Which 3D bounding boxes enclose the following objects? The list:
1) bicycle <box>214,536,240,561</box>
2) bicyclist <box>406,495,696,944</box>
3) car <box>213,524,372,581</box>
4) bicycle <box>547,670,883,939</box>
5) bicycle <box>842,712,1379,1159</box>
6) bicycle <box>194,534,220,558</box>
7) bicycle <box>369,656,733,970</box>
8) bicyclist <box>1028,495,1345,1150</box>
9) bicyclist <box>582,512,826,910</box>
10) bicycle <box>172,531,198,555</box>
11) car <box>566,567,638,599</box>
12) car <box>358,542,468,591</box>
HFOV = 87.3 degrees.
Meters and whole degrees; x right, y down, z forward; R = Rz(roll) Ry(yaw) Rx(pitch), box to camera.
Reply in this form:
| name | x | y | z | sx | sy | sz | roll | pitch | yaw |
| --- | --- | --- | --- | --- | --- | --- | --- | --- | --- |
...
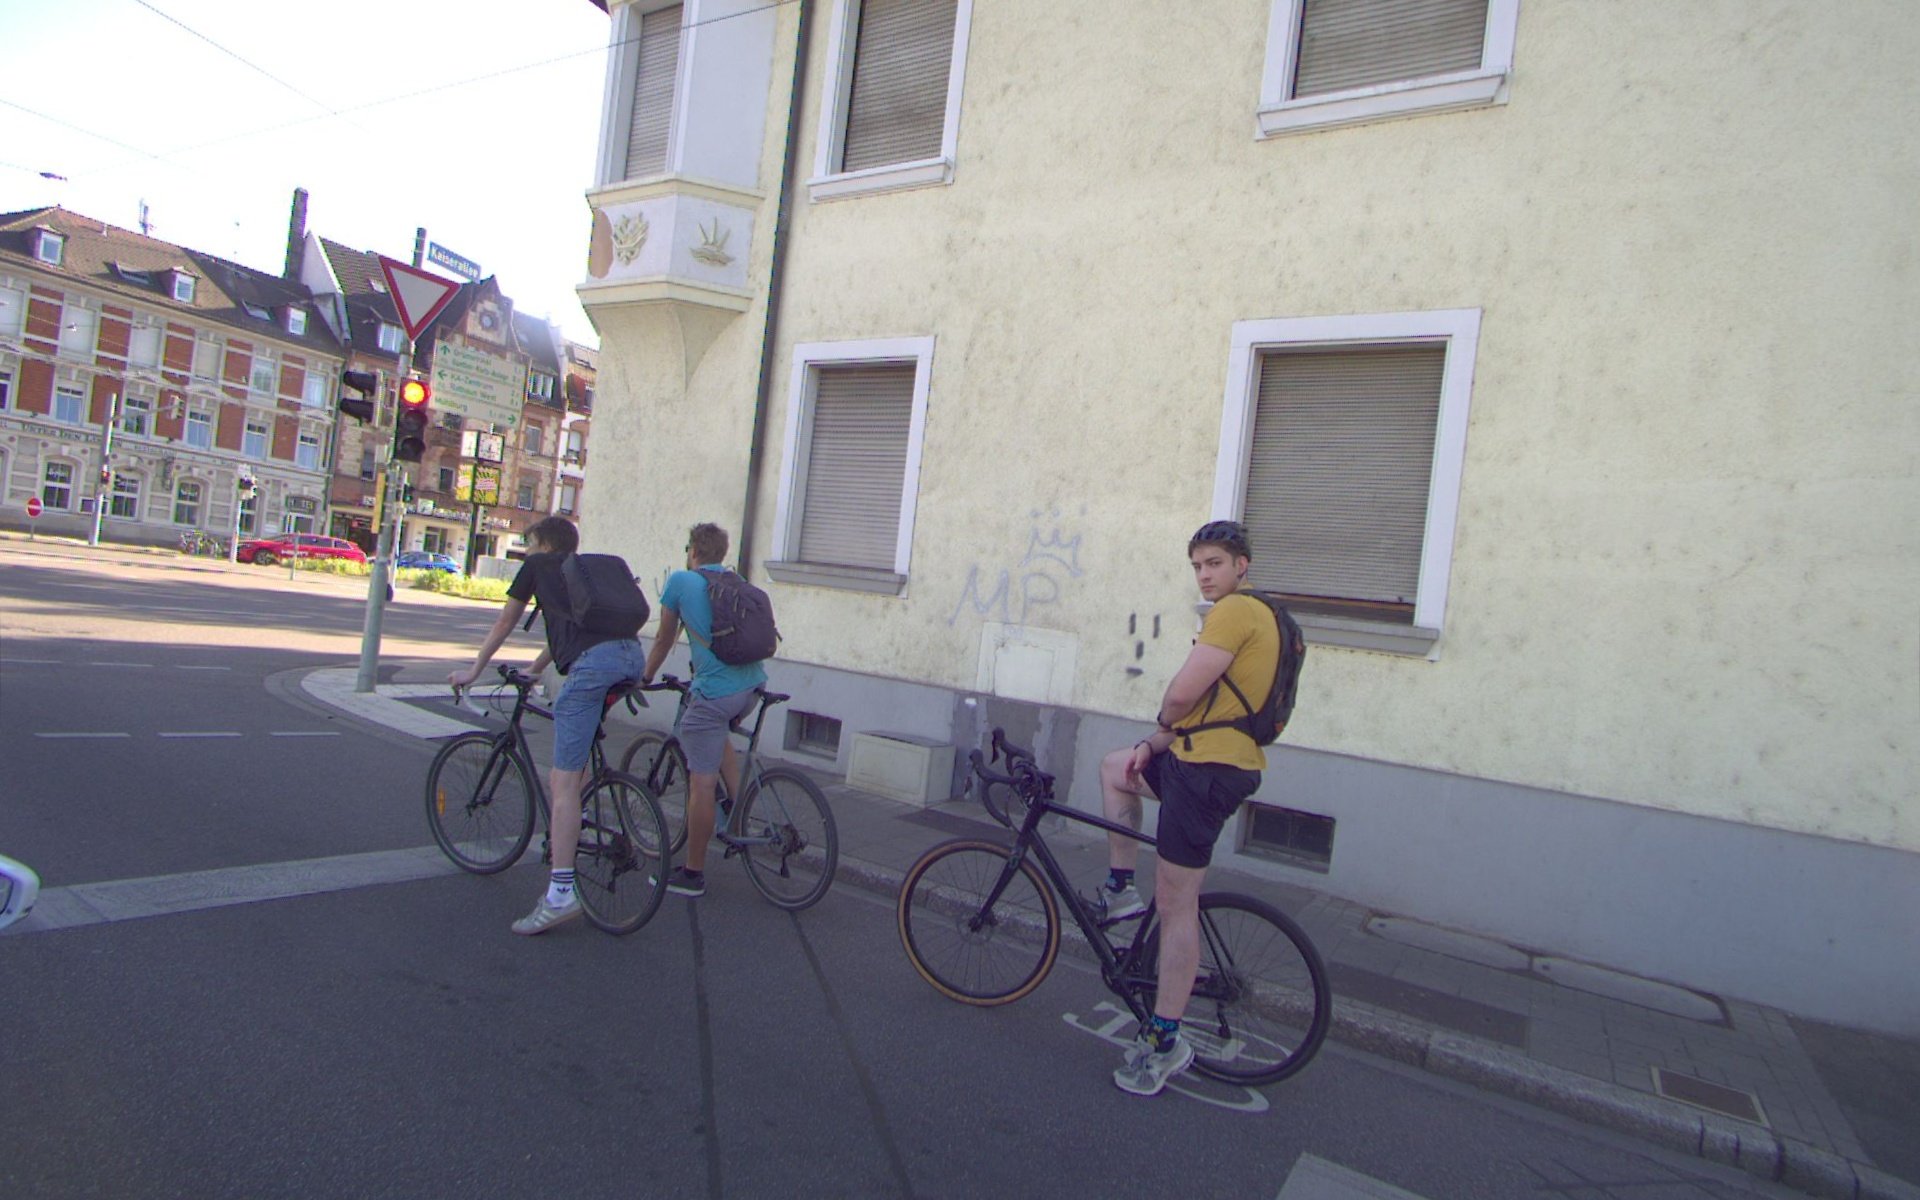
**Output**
| name | x | y | z | sx | sy | sz | roll | pitch | yaw |
| --- | --- | --- | --- | --- | --- | --- | --- | --- | --- |
| bicycle | -34.254 | -2.413 | 47.017 | 0.762 | 0.995 | 2.186 | 8 | -2 | -39 |
| bicyclist | -1.846 | 0.484 | 4.550 | 0.920 | 1.787 | 0.590 | 6 | -1 | 32 |
| car | -26.422 | -1.851 | 40.016 | 1.773 | 1.487 | 4.867 | 8 | -1 | 31 |
| bicycle | -1.310 | 0.980 | 5.214 | 1.753 | 0.995 | 0.504 | 6 | -1 | 32 |
| bicycle | 0.562 | 1.128 | 3.809 | 1.709 | 1.119 | 0.783 | 7 | -1 | 18 |
| bicycle | -34.750 | -2.503 | 46.395 | 0.762 | 0.979 | 2.186 | 8 | -2 | -39 |
| bicycle | -1.895 | 0.871 | 4.547 | 1.753 | 1.003 | 0.482 | 6 | -1 | 32 |
| bicyclist | 0.832 | 0.710 | 3.630 | 0.763 | 1.990 | 0.783 | 7 | 0 | 18 |
| bicyclist | -1.344 | 0.532 | 5.271 | 0.960 | 1.868 | 0.504 | 6 | -1 | 32 |
| bicycle | -35.352 | -2.604 | 45.870 | 0.762 | 0.974 | 2.186 | 8 | -2 | -39 |
| car | -23.140 | -1.084 | 65.136 | 1.842 | 1.454 | 3.985 | 6 | -2 | 35 |
| car | -25.430 | -1.543 | 46.884 | 1.775 | 1.641 | 3.994 | 6 | -2 | 33 |
